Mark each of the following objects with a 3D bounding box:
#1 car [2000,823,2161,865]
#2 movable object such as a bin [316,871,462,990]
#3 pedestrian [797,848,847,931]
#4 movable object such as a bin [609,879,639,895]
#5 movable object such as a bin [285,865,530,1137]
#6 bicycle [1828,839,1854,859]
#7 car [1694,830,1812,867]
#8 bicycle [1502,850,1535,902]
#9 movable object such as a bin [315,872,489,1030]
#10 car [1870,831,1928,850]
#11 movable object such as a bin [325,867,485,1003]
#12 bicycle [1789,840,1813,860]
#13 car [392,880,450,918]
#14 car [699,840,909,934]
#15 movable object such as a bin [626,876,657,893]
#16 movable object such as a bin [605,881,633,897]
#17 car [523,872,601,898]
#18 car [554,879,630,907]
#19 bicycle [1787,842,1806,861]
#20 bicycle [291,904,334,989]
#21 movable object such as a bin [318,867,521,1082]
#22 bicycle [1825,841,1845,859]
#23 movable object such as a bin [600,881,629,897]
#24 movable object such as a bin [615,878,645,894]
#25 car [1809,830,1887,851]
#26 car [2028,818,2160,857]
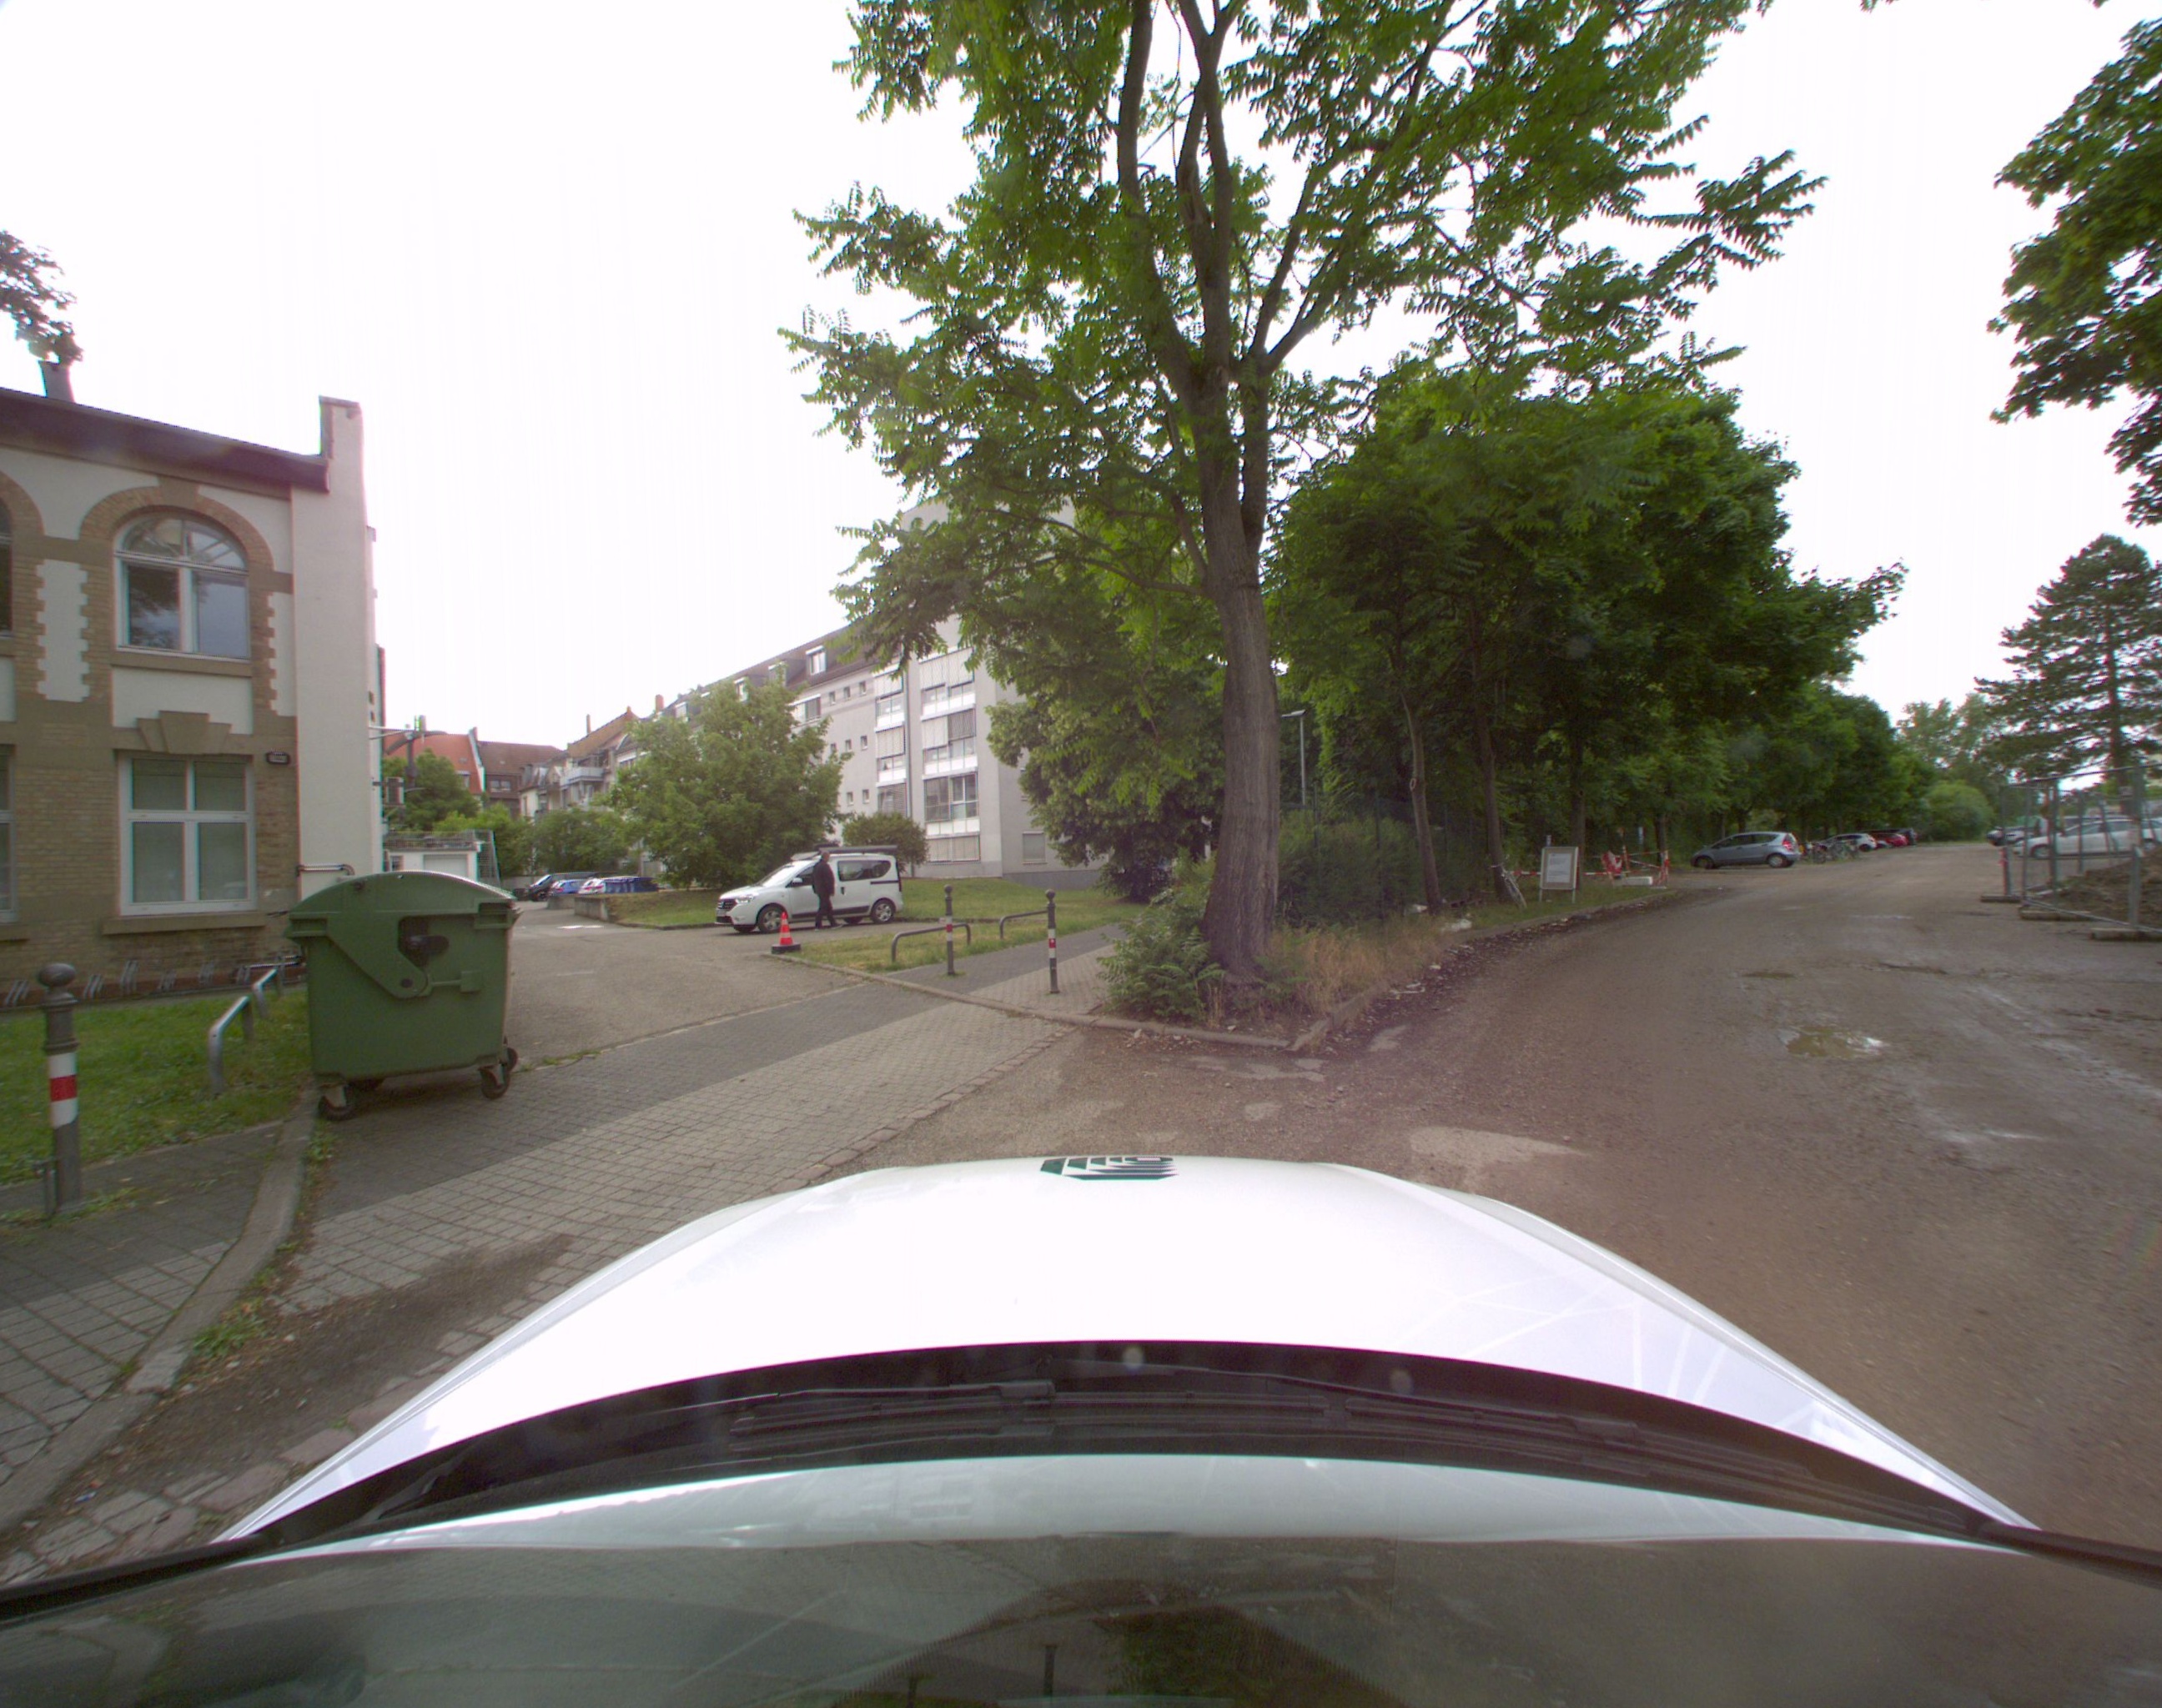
[{"bbox_3d":[40.102,-0.369,32.704,1.856,1.533,4.010,-2,0,-35],"label":"car"},{"bbox_3d":[-8.213,0.854,9.753,1.059,1.265,1.341,-2,0,-29],"label":"movable object such as a bin"},{"bbox_3d":[-5.849,0.793,18.391,0.689,1.809,0.761,-5,-2,44],"label":"pedestrian"},{"bbox_3d":[-19.862,1.422,35.366,0.973,0.637,0.900,-1,-2,-40],"label":"movable object such as a bin"},{"bbox_3d":[-4.291,0.825,5.347,1.060,1.450,1.341,-1,1,-33],"label":"movable object such as a bin"},{"bbox_3d":[38.729,-0.278,41.524,0.763,0.978,2.045,-2,0,37],"label":"bicycle"},{"bbox_3d":[29.659,-0.242,36.014,1.877,1.500,3.668,-2,0,-38],"label":"car"},{"bbox_3d":[8.384,0.405,15.598,0.414,0.905,1.161,5,3,32],"label":"bicycle"},{"bbox_3d":[-6.305,0.821,7.548,1.337,1.265,1.062,-2,0,43],"label":"movable object such as a bin"},{"bbox_3d":[74.718,-1.226,74.452,1.791,1.662,3.610,-2,0,-41],"label":"car"},{"bbox_3d":[-7.176,0.802,8.640,1.336,1.265,1.062,-2,0,40],"label":"movable object such as a bin"},{"bbox_3d":[37.499,-0.204,42.414,0.763,0.978,2.045,-2,0,37],"label":"bicycle"},{"bbox_3d":[-28.723,1.952,35.396,1.863,1.508,3.952,-1,-2,-40],"label":"car"},{"bbox_3d":[-6.571,0.729,19.661,1.831,2.014,4.377,-4,-2,44],"label":"car"},{"bbox_3d":[-18.133,1.260,33.581,0.973,0.637,0.900,-1,-2,-40],"label":"movable object such as a bin"},{"bbox_3d":[-20.498,1.555,36.131,0.973,0.679,0.801,-1,-2,-40],"label":"movable object such as a bin"},{"bbox_3d":[-36.655,2.159,57.598,1.974,1.574,4.223,-2,0,38],"label":"car"},{"bbox_3d":[-32.329,2.549,53.935,1.565,1.574,4.026,-2,0,38],"label":"car"},{"bbox_3d":[38.852,-0.123,44.241,0.583,0.978,2.045,-2,0,37],"label":"bicycle"},{"bbox_3d":[-10.877,1.269,11.535,0.398,1.065,1.806,-1,-1,-43],"label":"bicycle"},{"bbox_3d":[-5.254,0.857,6.457,1.337,1.456,1.062,-3,-1,43],"label":"movable object such as a bin"},{"bbox_3d":[42.237,-0.224,45.631,0.583,0.978,2.045,-2,0,37],"label":"bicycle"},{"bbox_3d":[-21.118,1.580,36.880,0.973,0.679,0.860,-1,-2,-40],"label":"movable object such as a bin"},{"bbox_3d":[-19.042,1.349,34.377,0.973,0.637,0.900,-1,-2,-40],"label":"movable object such as a bin"},{"bbox_3d":[60.116,-1.030,63.894,3.955,1.508,2.009,-2,0,18],"label":"car"},{"bbox_3d":[50.399,-0.793,40.660,1.940,1.783,3.952,-2,0,-42],"label":"car"}]
